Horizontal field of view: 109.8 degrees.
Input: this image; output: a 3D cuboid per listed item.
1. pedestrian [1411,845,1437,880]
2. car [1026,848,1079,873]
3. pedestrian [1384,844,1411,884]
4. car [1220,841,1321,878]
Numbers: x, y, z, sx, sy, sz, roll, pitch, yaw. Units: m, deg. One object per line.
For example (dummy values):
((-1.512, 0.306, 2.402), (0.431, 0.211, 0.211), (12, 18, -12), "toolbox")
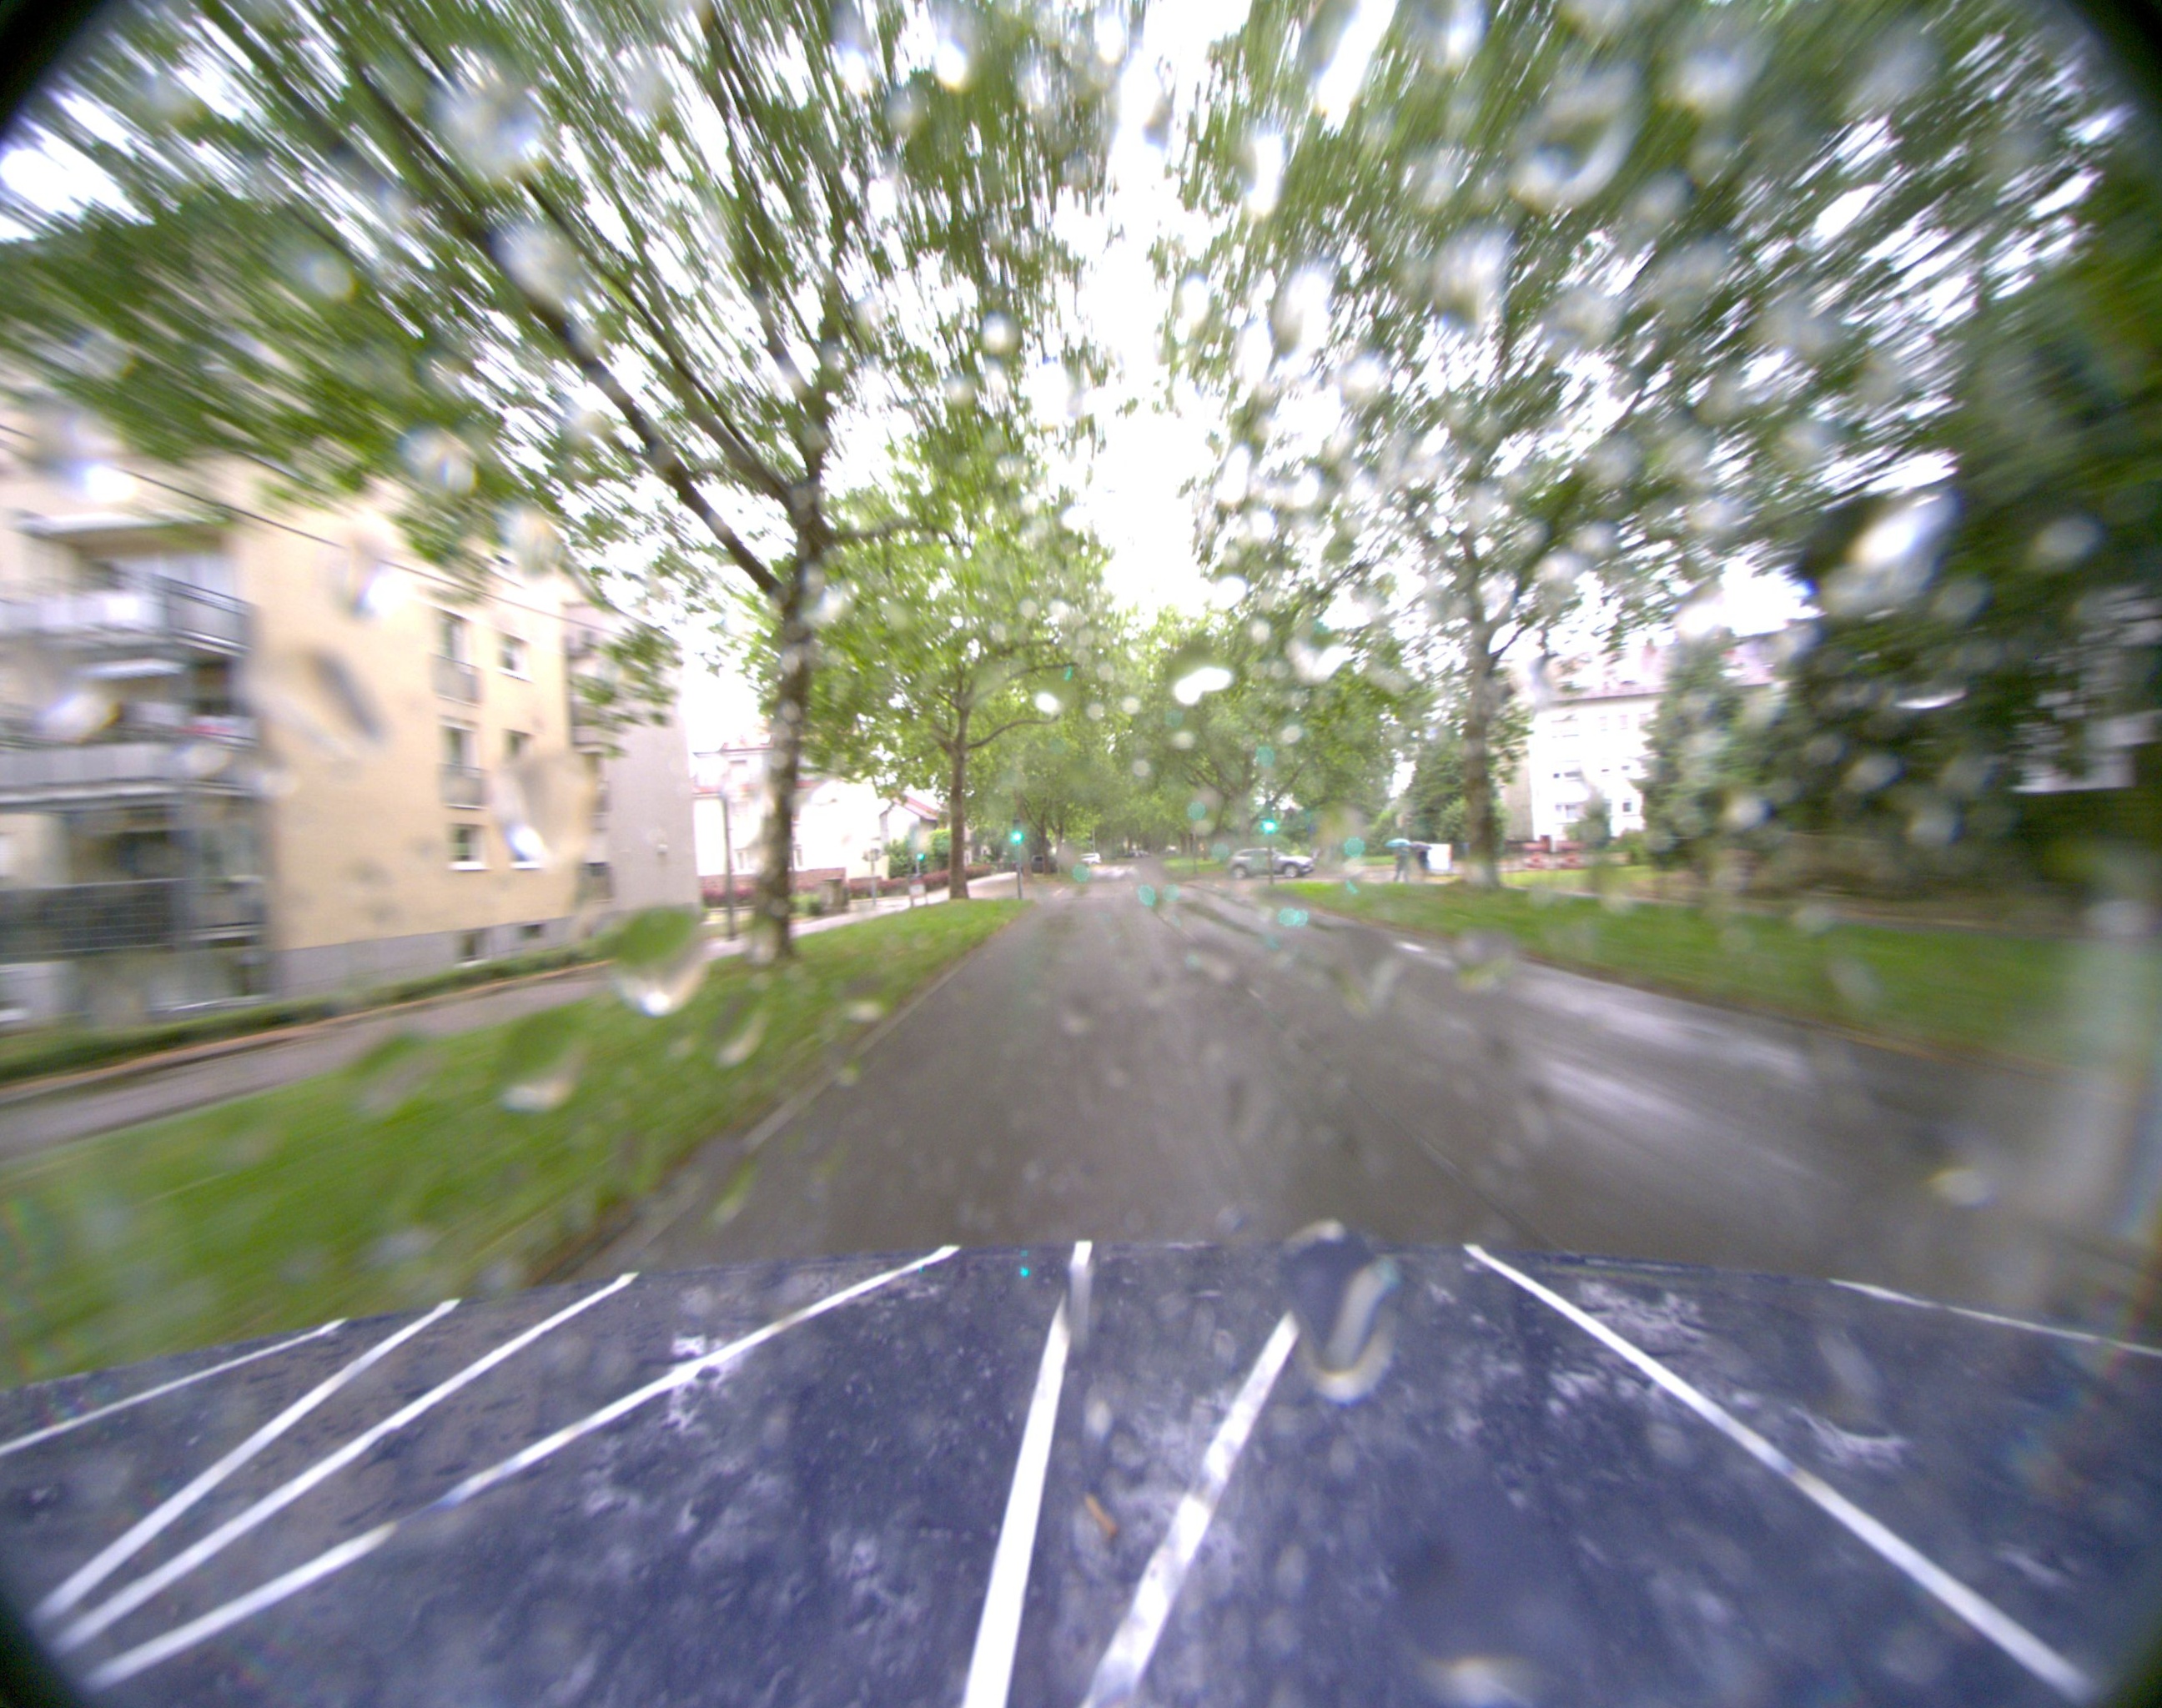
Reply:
((12.906, 0.319, 28.600), (0.517, 1.254, 0.849), (-3, 1, 1), "pedestrian")
((-2.400, 0.507, 64.297), (4.263, 1.845, 1.891), (-3, 1, -1), "car")
((11.977, 0.361, 28.743), (0.599, 1.445, 0.856), (-3, 1, 1), "pedestrian")
((10.052, 0.319, 40.486), (4.709, 1.677, 2.004), (-3, 1, 37), "car")
